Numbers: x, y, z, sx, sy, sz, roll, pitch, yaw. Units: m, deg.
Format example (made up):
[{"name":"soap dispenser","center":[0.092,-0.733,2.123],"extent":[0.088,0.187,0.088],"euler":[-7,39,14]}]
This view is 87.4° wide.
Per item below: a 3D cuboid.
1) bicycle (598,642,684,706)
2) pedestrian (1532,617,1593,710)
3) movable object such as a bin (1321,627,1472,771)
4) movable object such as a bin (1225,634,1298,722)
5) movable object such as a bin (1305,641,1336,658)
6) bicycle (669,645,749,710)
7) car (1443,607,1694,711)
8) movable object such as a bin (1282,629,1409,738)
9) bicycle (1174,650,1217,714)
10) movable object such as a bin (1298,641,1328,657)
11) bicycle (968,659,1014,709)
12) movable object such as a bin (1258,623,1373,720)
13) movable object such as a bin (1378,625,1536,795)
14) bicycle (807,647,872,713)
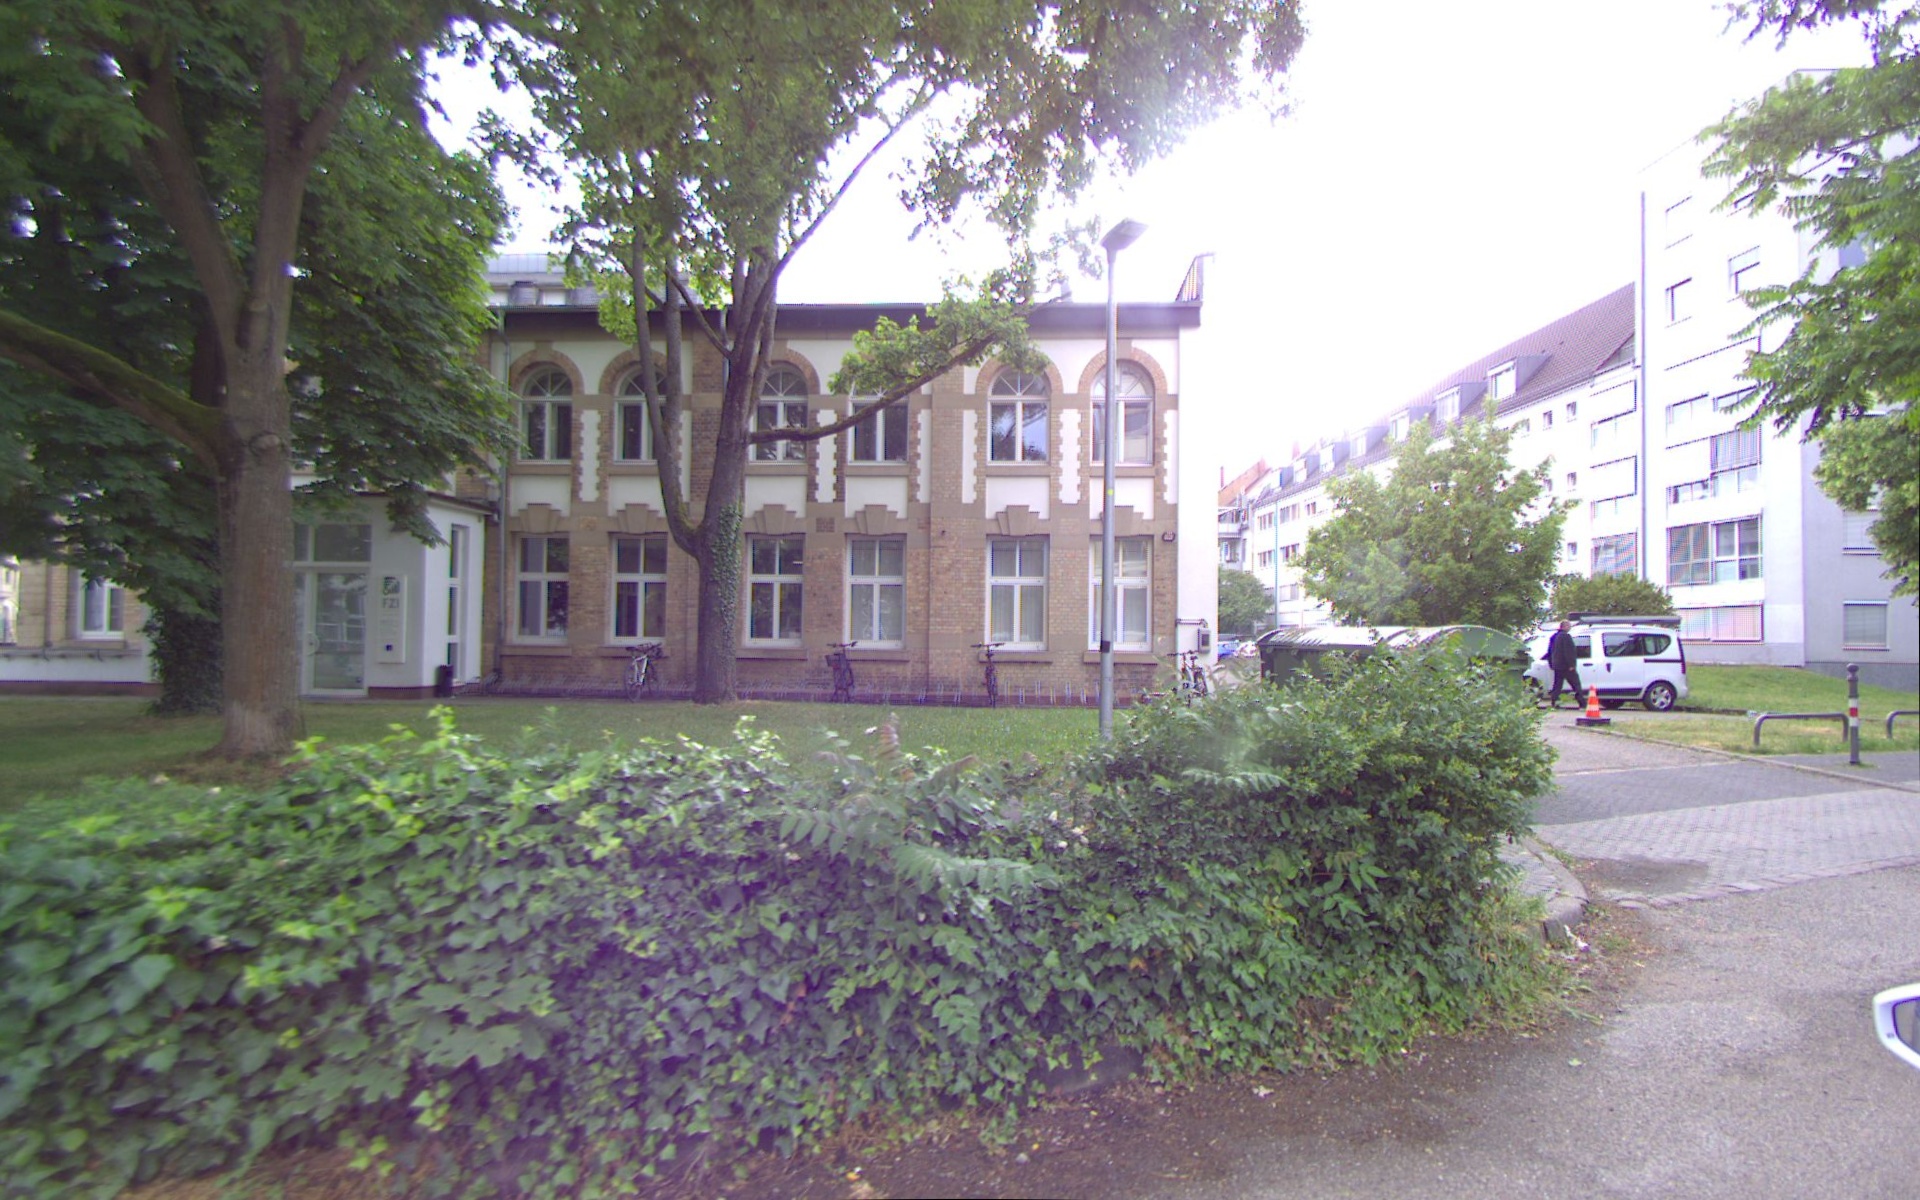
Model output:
[{"name":"bicycle","center":[-6.040,1.378,19.154],"extent":[0.606,1.134,2.223],"euler":[0,-2,9]},{"name":"pedestrian","center":[12.090,1.277,20.179],"extent":[0.741,1.832,0.698],"euler":[0,-3,-1]},{"name":"movable object such as a bin","center":[4.763,1.051,11.072],"extent":[1.035,1.475,1.354],"euler":[1,-2,-2]},{"name":"movable object such as a bin","center":[4.661,1.181,15.586],"extent":[1.034,1.281,1.355],"euler":[0,-1,15]},{"name":"movable object such as a bin","center":[14.298,1.971,39.859],"extent":[0.948,0.645,0.912],"euler":[1,-3,5]},{"name":"bicycle","center":[-4.668,1.421,18.863],"extent":[0.606,1.134,2.223],"euler":[0,-2,9]},{"name":"car","center":[12.937,1.262,21.528],"extent":[4.266,2.040,1.855],"euler":[1,-3,-1]},{"name":"movable object such as a bin","center":[4.793,1.014,12.599],"extent":[1.035,1.281,1.354],"euler":[1,-1,-3]},{"name":"bicycle","center":[4.354,1.492,18.637],"extent":[0.388,1.079,1.829],"euler":[1,-2,1]},{"name":"movable object such as a bin","center":[14.414,2.015,40.996],"extent":[0.948,0.645,0.912],"euler":[1,-3,5]},{"name":"bicycle","center":[0.597,1.539,18.673],"extent":[0.606,0.824,1.946],"euler":[0,-2,9]},{"name":"movable object such as a bin","center":[4.927,0.967,14.011],"extent":[1.036,1.281,1.353],"euler":[1,-1,-6]},{"name":"movable object such as a bin","center":[4.706,0.992,9.631],"extent":[1.034,1.469,1.355],"euler":[0,0,11]},{"name":"bicycle","center":[-2.218,1.460,18.780],"extent":[0.606,1.134,2.223],"euler":[0,-2,9]}]
